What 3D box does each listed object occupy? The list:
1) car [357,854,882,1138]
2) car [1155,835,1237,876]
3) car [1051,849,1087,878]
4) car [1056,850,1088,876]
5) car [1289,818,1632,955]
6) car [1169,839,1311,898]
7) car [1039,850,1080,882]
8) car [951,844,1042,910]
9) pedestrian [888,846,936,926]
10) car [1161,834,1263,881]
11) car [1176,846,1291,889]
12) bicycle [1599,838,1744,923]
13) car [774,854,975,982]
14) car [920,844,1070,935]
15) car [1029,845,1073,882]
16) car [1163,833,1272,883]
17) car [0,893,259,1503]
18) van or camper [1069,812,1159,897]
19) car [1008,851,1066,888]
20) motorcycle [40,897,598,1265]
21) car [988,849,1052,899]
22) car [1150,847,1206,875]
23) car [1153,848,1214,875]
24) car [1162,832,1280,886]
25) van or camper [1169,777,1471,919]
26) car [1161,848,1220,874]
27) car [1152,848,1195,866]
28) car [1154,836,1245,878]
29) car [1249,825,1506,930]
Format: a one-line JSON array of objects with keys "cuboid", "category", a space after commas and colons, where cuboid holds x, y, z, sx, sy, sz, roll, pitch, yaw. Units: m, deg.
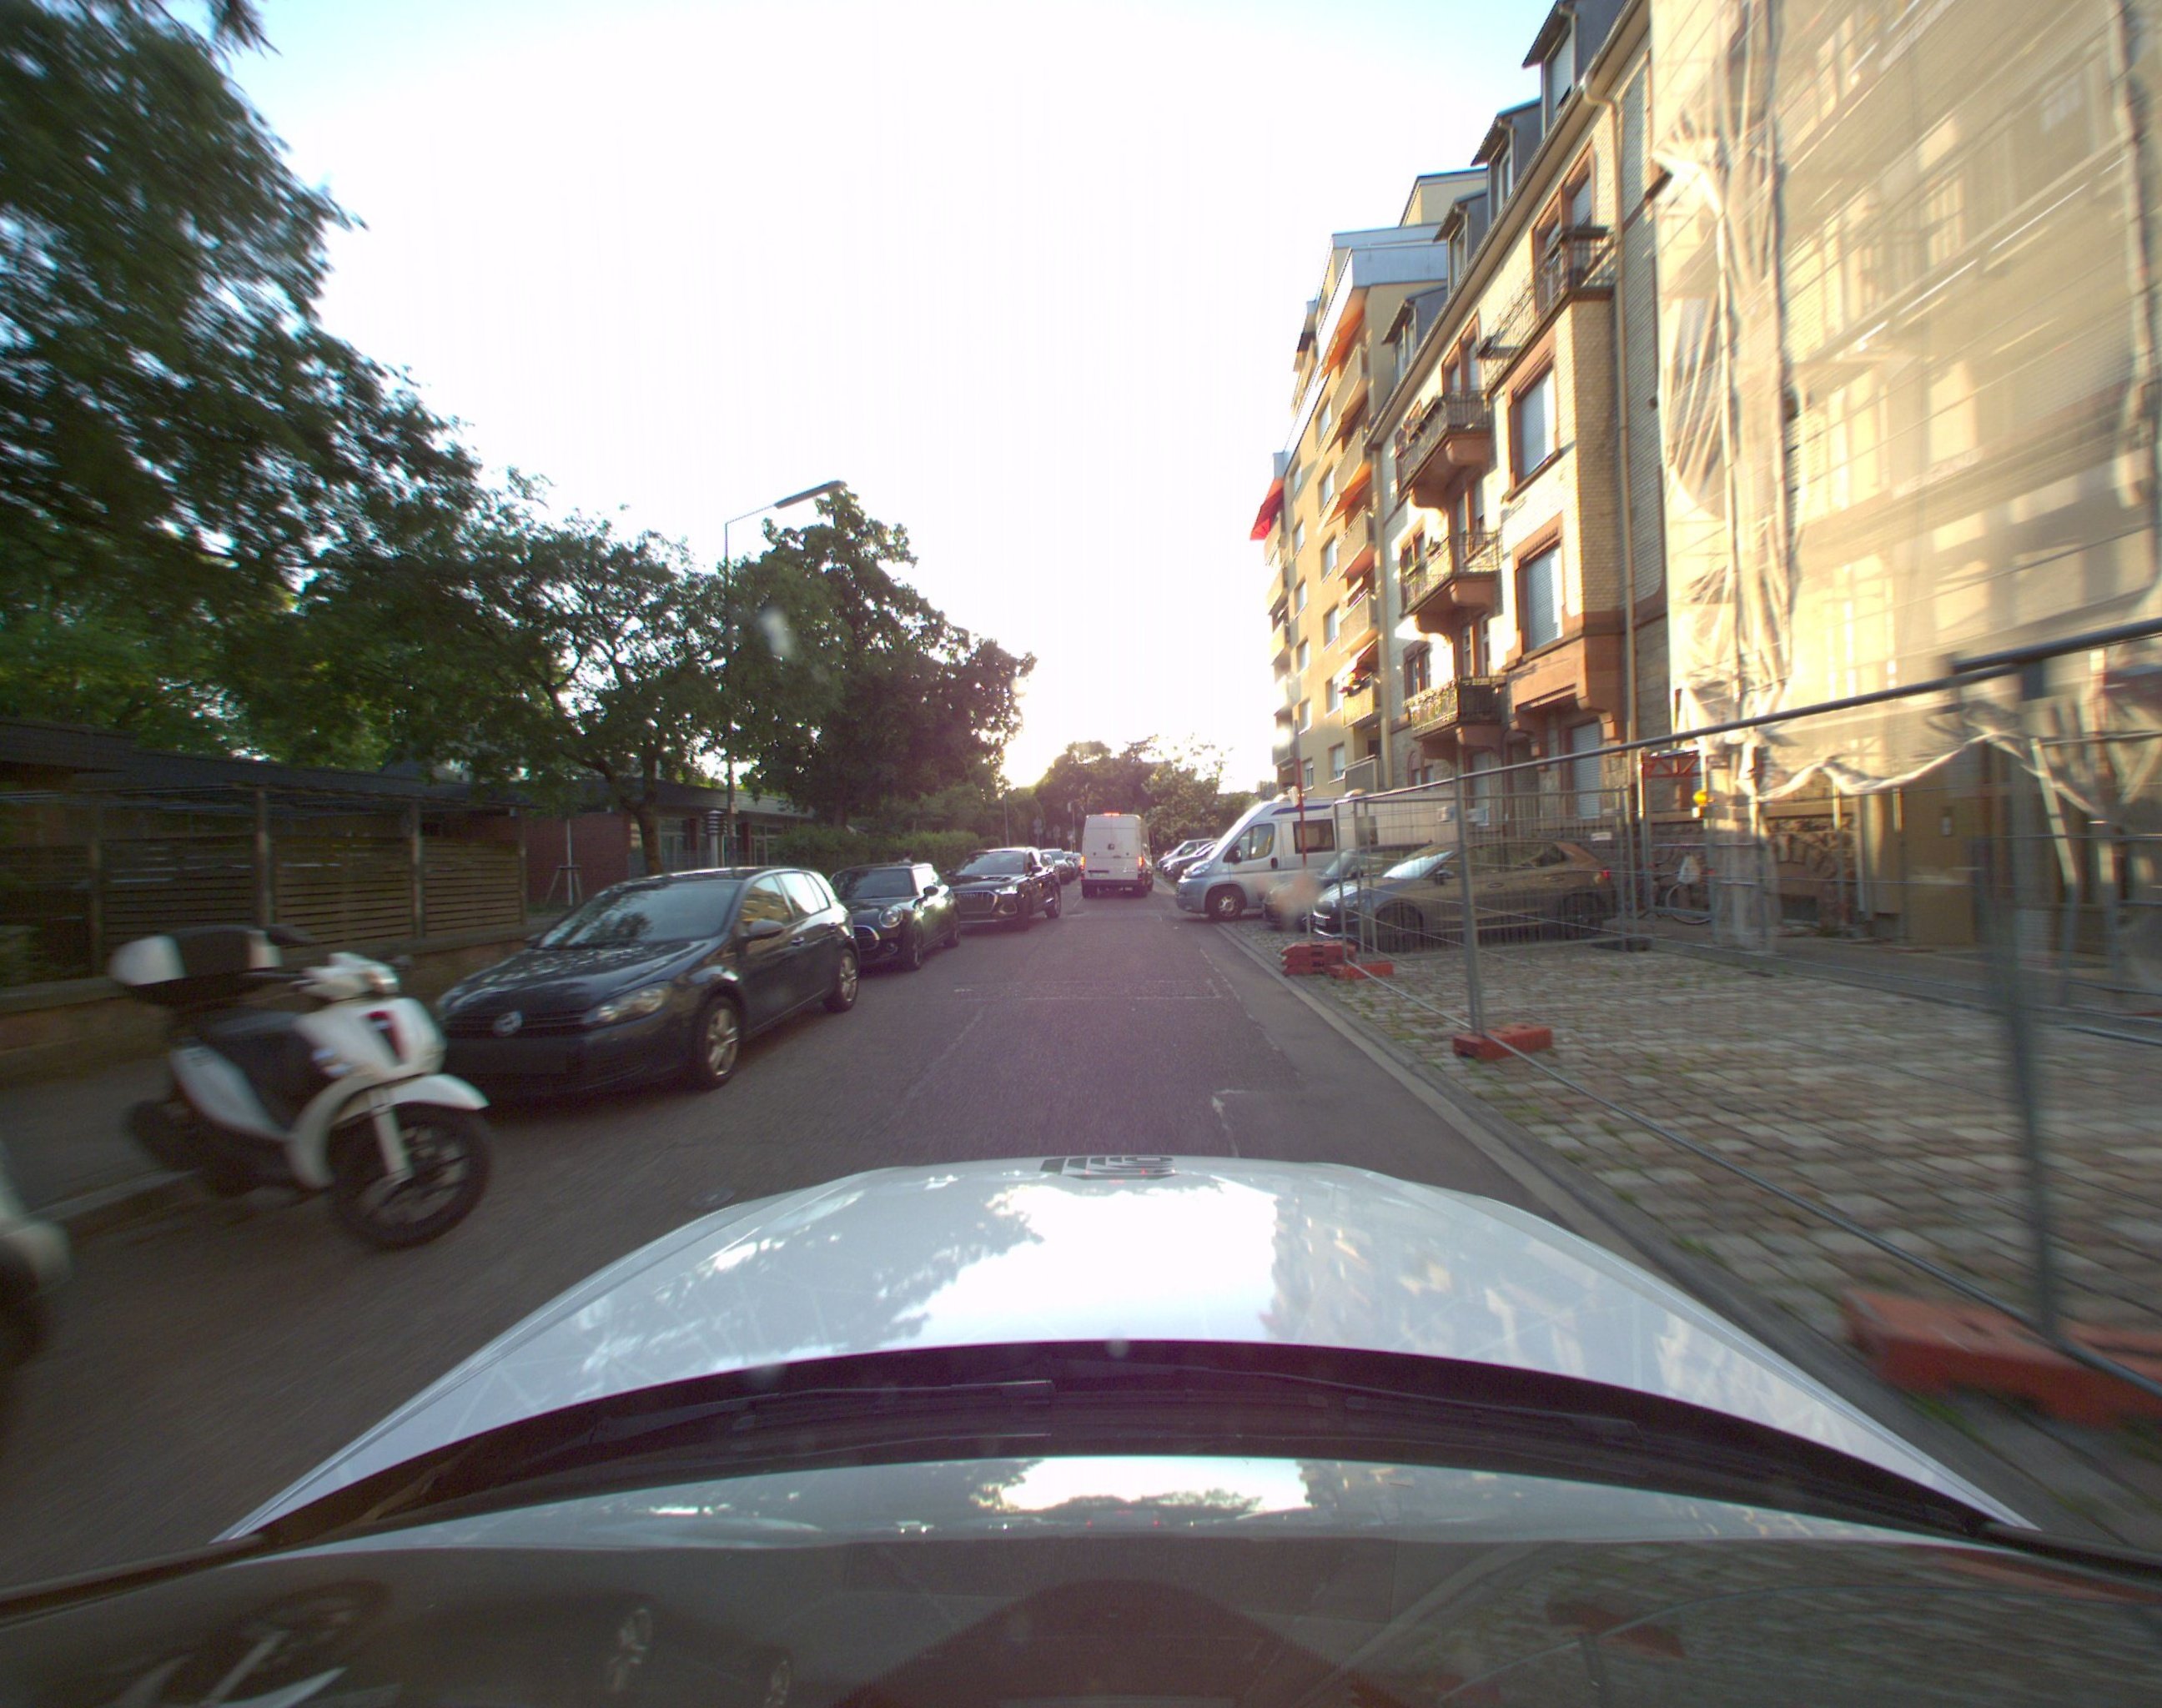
[{"cuboid": [-3.152, 0.808, 6.794, 1.709, 1.496, 4.362, -4, 0, 2], "category": "car"}, {"cuboid": [6.534, 0.079, 46.744, 4.478, 2.230, 2.033, -1, 0, 2], "category": "car"}, {"cuboid": [-0.653, 0.563, 48.638, 1.986, 1.618, 4.001, -1, 0, 1], "category": "car"}, {"cuboid": [-0.547, 0.552, 54.350, 1.986, 1.618, 4.001, -1, 0, 1], "category": "car"}, {"cuboid": [5.318, 0.427, 11.845, 3.977, 1.515, 2.018, -5, 0, -2], "category": "car"}, {"cuboid": [4.893, 0.429, 25.465, 3.976, 1.453, 1.834, -5, 0, -2], "category": "car"}, {"cuboid": [-1.109, 0.604, 44.325, 1.986, 1.618, 4.001, -1, 0, 1], "category": "car"}, {"cuboid": [-2.335, 0.608, 23.584, 1.775, 1.631, 4.005, -4, 0, 5], "category": "car"}, {"cuboid": [-3.983, 0.740, 19.272, 0.934, 1.830, 0.787, -1, 0, 1], "category": "pedestrian"}, {"cuboid": [6.343, 0.174, 39.930, 4.689, 2.145, 2.001, -1, 0, 1], "category": "car"}, {"cuboid": [5.960, 0.519, 32.181, 4.220, 1.425, 1.720, -4, 0, 2], "category": "car"}, {"cuboid": [8.848, 0.361, 12.331, 0.629, 1.168, 2.032, -1, 0, -3], "category": "bicycle"}, {"cuboid": [-2.825, 0.796, 12.078, 1.630, 1.478, 3.997, -4, 0, 4], "category": "car"}, {"cuboid": [-1.589, 0.633, 16.813, 1.793, 1.569, 4.578, -3, 0, 10], "category": "car"}, {"cuboid": [-1.406, 0.425, 39.122, 1.988, 1.662, 3.998, -1, 0, -1], "category": "car"}, {"cuboid": [6.236, 0.182, 37.504, 4.689, 2.145, 2.001, -1, 0, 1], "category": "car"}, {"cuboid": [-3.470, 0.902, 0.651, 1.595, 1.431, 3.805, -5, 0, 1], "category": "car"}, {"cuboid": [1.273, 0.001, 27.565, 2.440, 2.547, 6.096, 0, 0, 8], "category": "van or camper"}, {"cuboid": [-1.767, 0.593, 33.907, 1.986, 1.398, 4.002, -1, 0, 2], "category": "car"}, {"cuboid": [-3.447, 0.877, 3.726, 2.147, 1.303, 0.884, -1, 0, 17], "category": "motorcycle"}, {"cuboid": [-2.065, 0.654, 28.811, 1.850, 1.555, 4.099, -3, 0, 0], "category": "car"}, {"cuboid": [7.075, 0.506, 59.899, 3.969, 2.013, 2.002, -1, 0, 4], "category": "car"}, {"cuboid": [6.830, 0.485, 54.664, 3.970, 1.728, 2.002, -1, 0, 3], "category": "car"}, {"cuboid": [5.894, 0.194, 34.629, 4.689, 2.145, 2.001, -1, 0, 1], "category": "car"}, {"cuboid": [4.947, -0.116, 17.581, 5.906, 2.770, 2.110, -1, 0, 1], "category": "van or camper"}, {"cuboid": [7.693, 0.474, 57.585, 3.970, 1.728, 2.002, -1, 0, 3], "category": "car"}, {"cuboid": [9.045, 0.284, 79.928, 3.975, 1.618, 1.999, -1, 0, -1], "category": "car"}, {"cuboid": [6.451, 0.160, 44.612, 4.689, 2.145, 2.001, -1, 0, 1], "category": "car"}, {"cuboid": [5.150, 0.419, 14.587, 3.918, 1.486, 1.789, -4, -2, 4], "category": "car"}]
